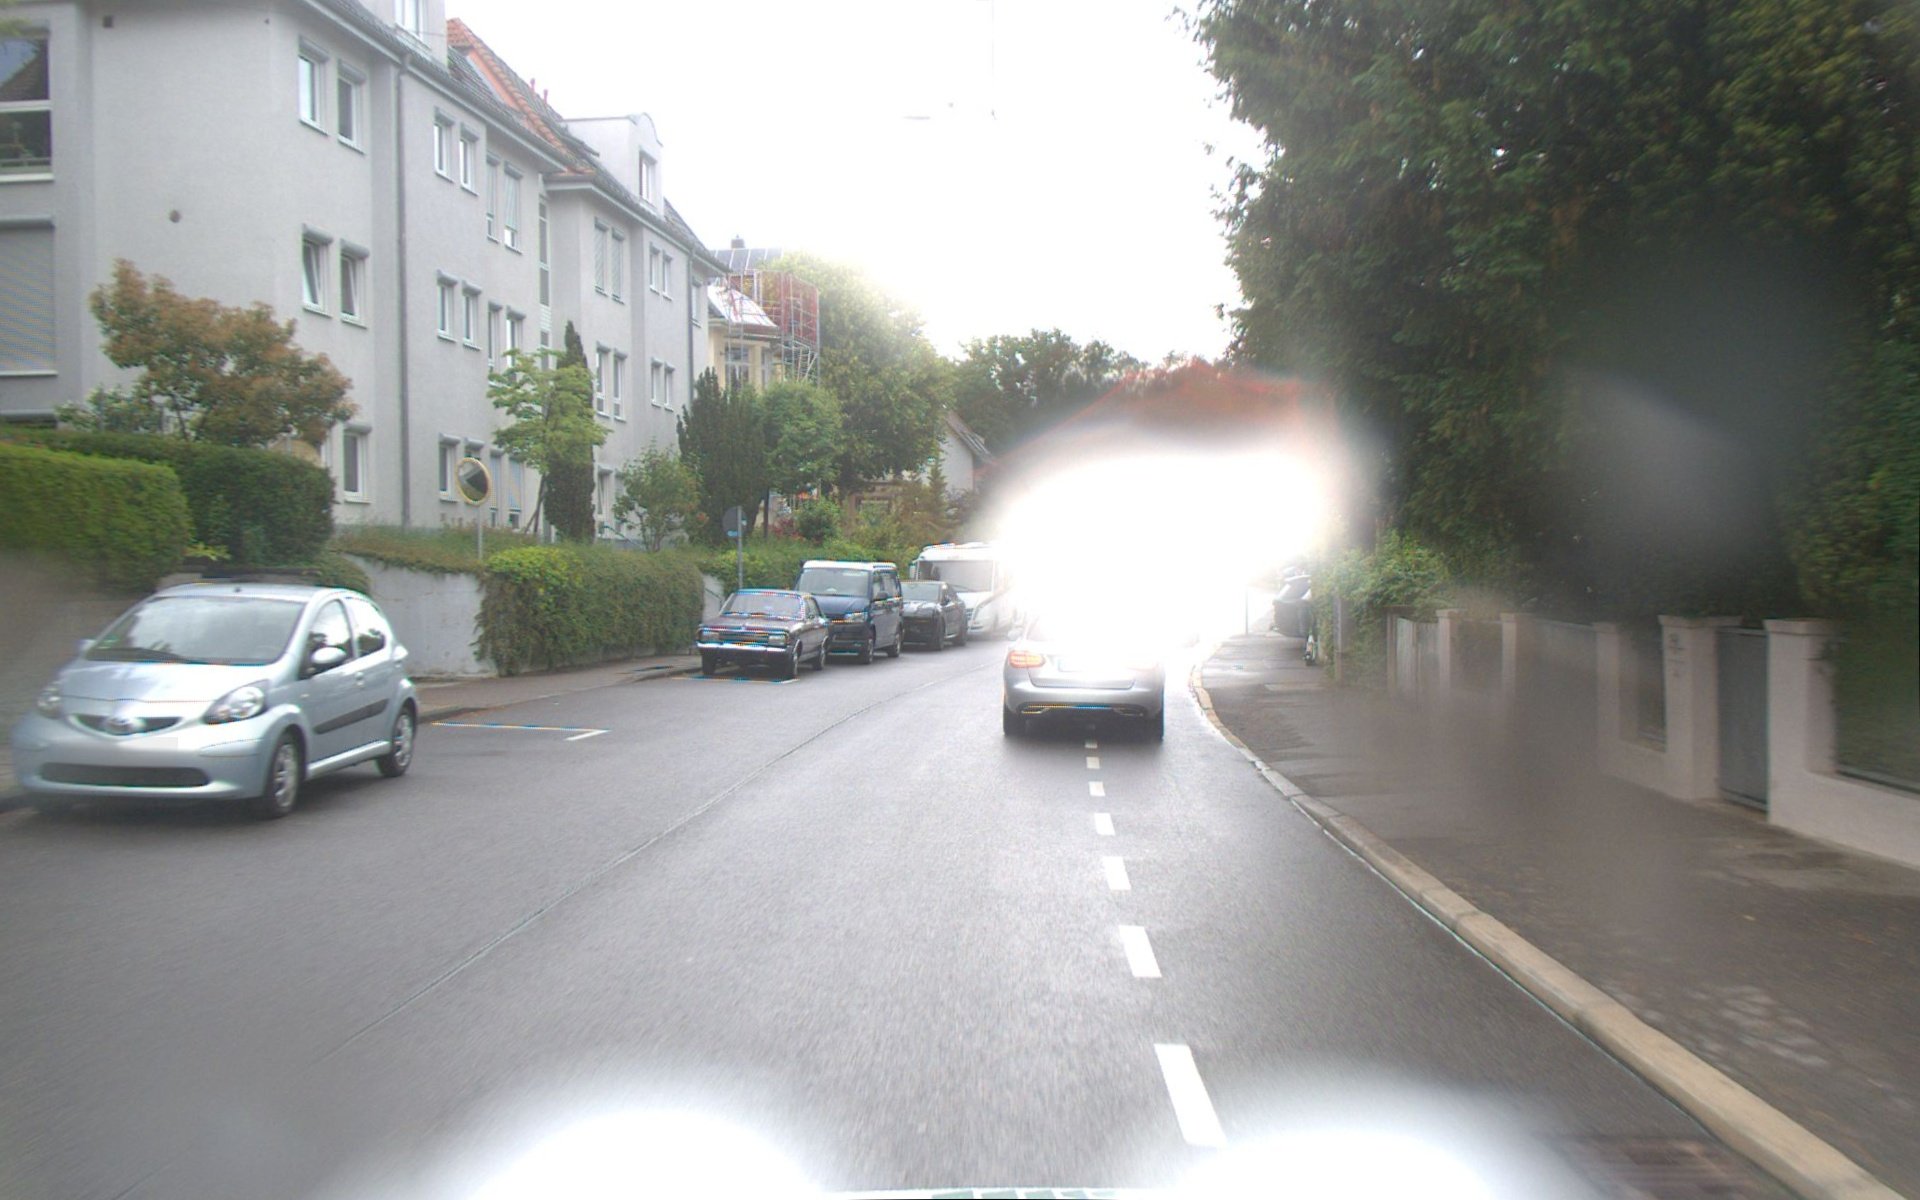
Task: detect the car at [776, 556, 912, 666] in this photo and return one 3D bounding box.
[{"bbox_3d":[-2.342,0.201,34.730,1.790,2.092,5.014,1,0,8],"label":"car"}]

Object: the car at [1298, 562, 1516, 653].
[{"bbox_3d":[10.158,0.162,37.921,4.563,1.844,2.002,-2,0,8],"label":"car"}]

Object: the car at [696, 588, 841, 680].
[{"bbox_3d":[-3.288,0.540,29.258,1.609,1.442,4.616,1,1,5],"label":"car"}]

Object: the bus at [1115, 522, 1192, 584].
[{"bbox_3d":[12.282,-3.091,106.170,2.871,3.714,10.295,1,3,-5],"label":"bus"}]

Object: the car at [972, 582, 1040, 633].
[{"bbox_3d":[1.544,0.214,54.047,1.676,1.472,3.258,2,3,11],"label":"car"}]

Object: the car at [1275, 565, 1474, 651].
[{"bbox_3d":[10.254,0.194,41.185,4.563,1.907,2.002,-2,0,8],"label":"car"}]

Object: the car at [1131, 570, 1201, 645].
[{"bbox_3d":[5.789,0.198,46.090,1.803,1.937,4.003,1,0,8],"label":"car"}]

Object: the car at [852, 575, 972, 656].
[{"bbox_3d":[-1.113,0.327,40.915,1.951,1.717,4.682,2,3,11],"label":"car"}]

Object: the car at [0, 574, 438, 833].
[{"bbox_3d":[-5.006,0.609,11.605,1.572,1.512,3.487,1,0,-1],"label":"car"}]

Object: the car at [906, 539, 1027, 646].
[{"bbox_3d":[0.298,-0.314,48.243,2.340,2.820,6.538,2,2,11],"label":"car"}]

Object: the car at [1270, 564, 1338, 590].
[{"bbox_3d":[22.226,-1.502,106.823,3.911,1.557,1.757,1,3,-7],"label":"car"}]

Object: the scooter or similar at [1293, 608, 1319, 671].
[{"bbox_3d":[6.974,0.777,33.383,0.446,1.221,1.868,2,0,10],"label":"scooter or similar"}]

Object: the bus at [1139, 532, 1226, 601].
[{"bbox_3d":[12.973,-2.052,97.336,2.871,3.714,10.161,1,3,-5],"label":"bus"}]

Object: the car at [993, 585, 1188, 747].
[{"bbox_3d":[1.594,0.650,18.908,1.777,1.583,4.004,2,1,10],"label":"car"}]
